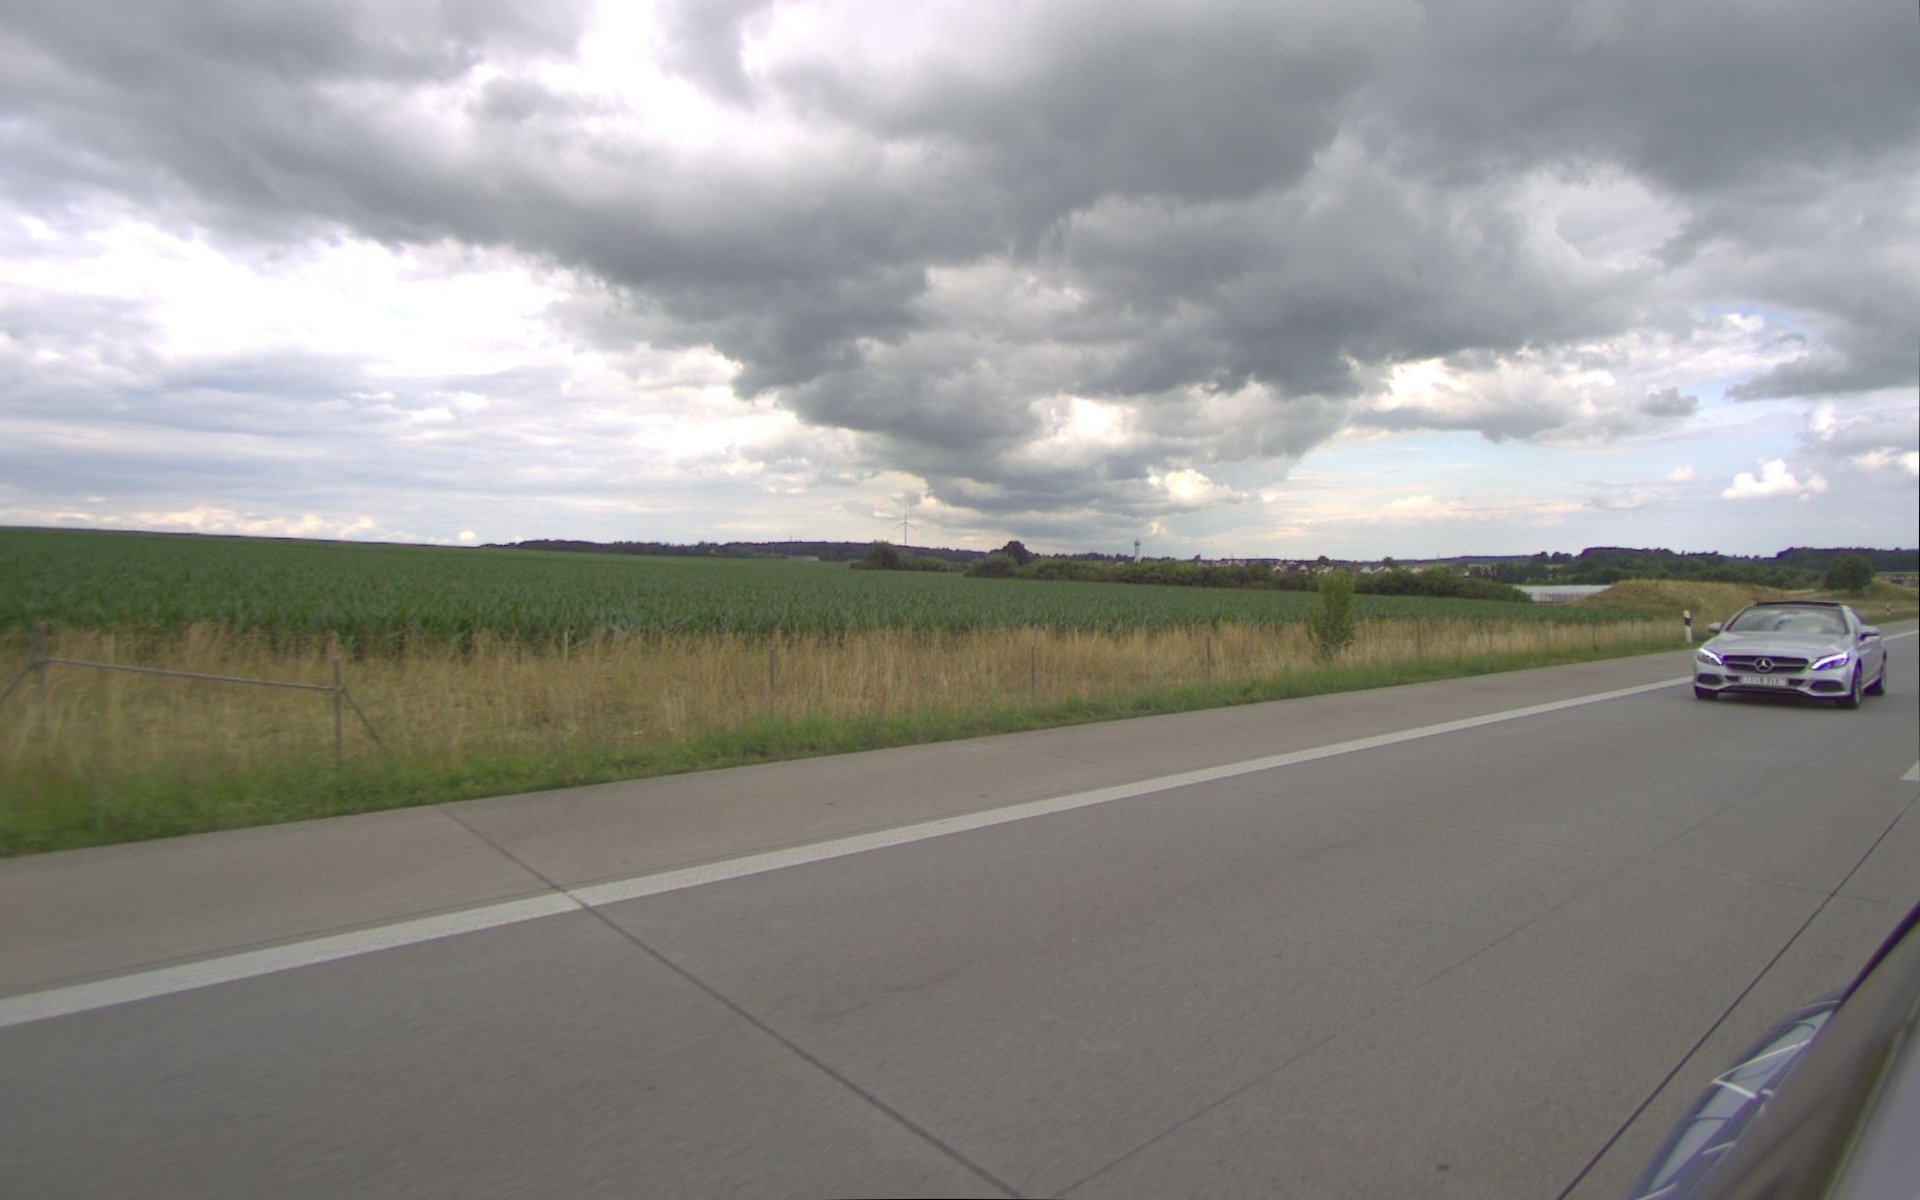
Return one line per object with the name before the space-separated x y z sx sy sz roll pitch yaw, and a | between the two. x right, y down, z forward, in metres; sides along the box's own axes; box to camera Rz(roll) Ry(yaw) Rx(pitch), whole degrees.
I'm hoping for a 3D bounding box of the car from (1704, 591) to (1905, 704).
car | 12.614 0.587 15.027 4.150 1.421 1.791 -1 1 -43
